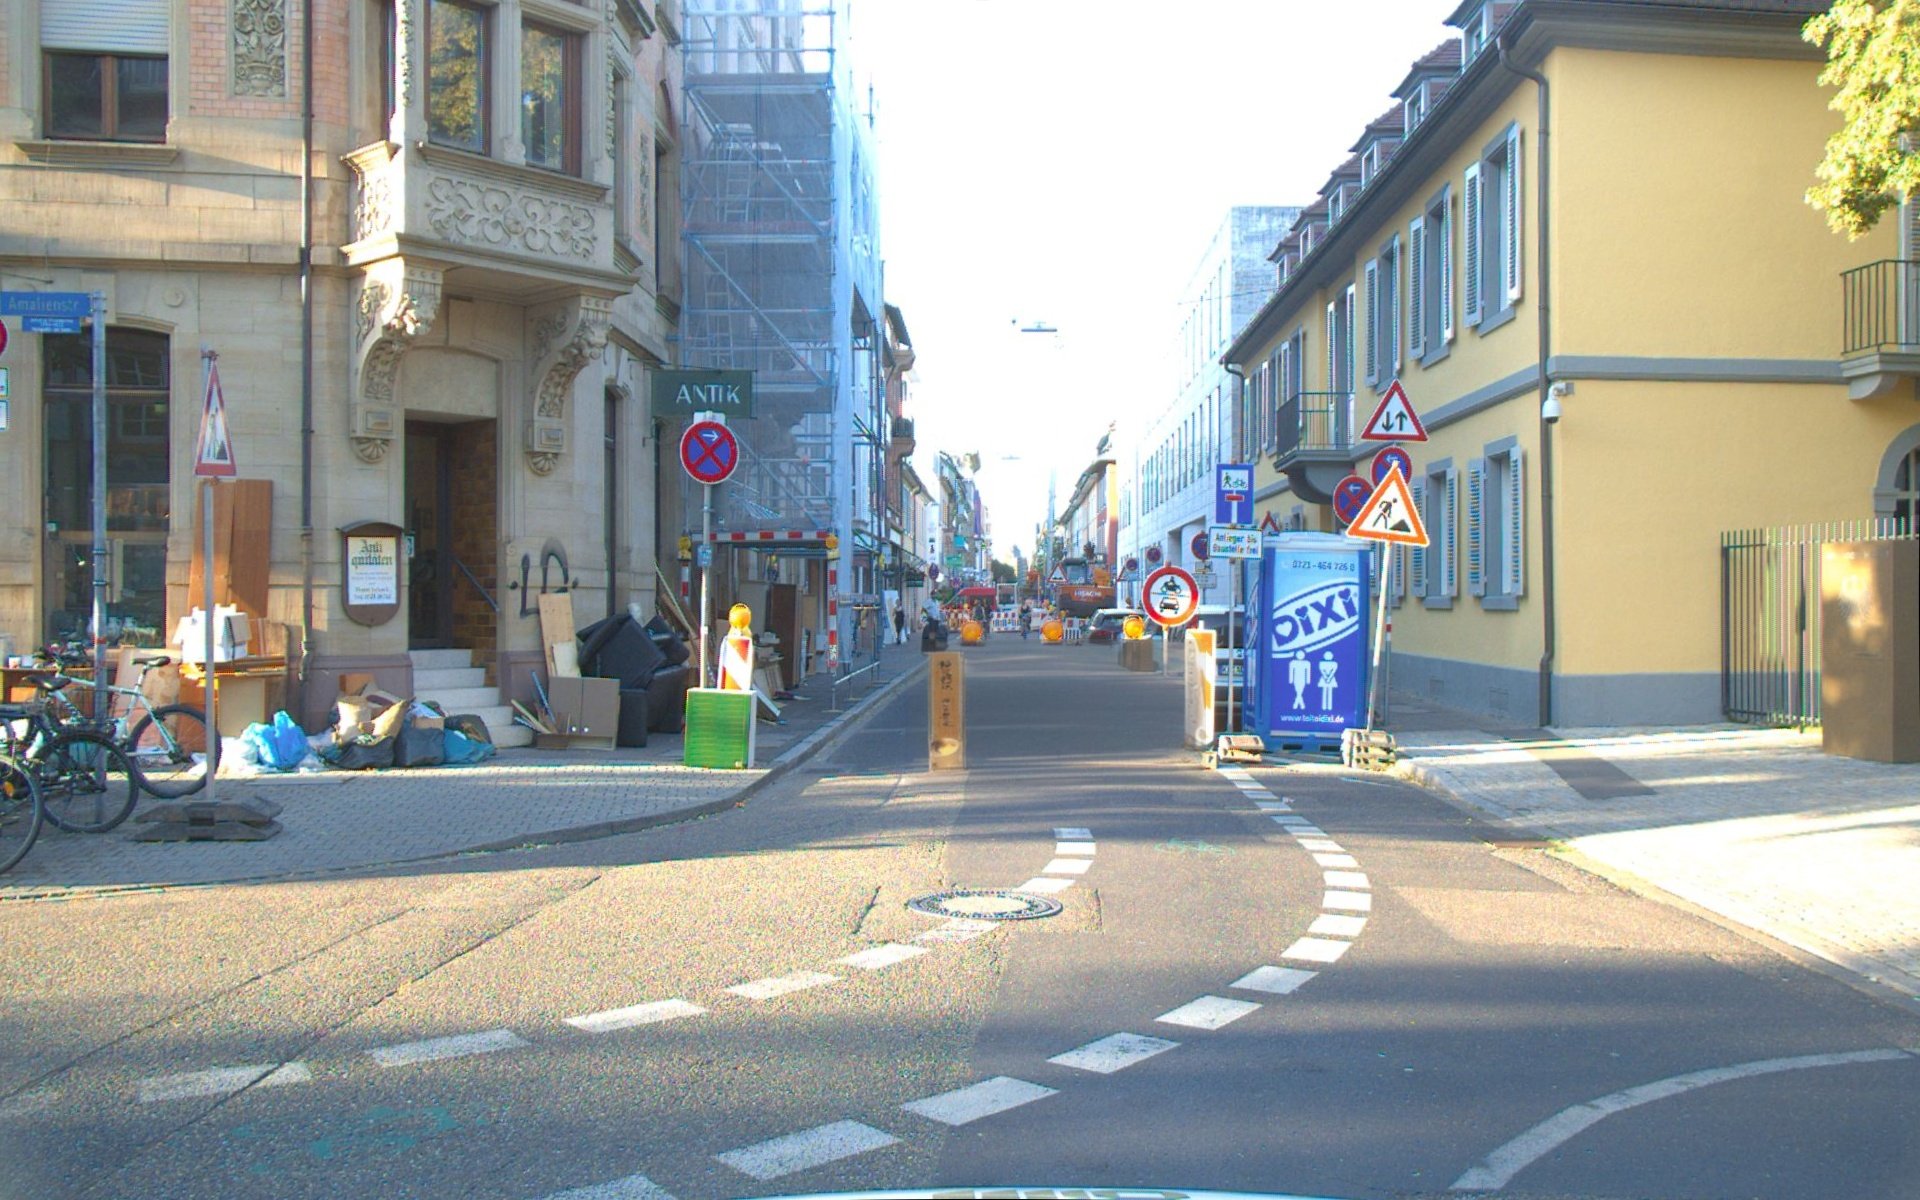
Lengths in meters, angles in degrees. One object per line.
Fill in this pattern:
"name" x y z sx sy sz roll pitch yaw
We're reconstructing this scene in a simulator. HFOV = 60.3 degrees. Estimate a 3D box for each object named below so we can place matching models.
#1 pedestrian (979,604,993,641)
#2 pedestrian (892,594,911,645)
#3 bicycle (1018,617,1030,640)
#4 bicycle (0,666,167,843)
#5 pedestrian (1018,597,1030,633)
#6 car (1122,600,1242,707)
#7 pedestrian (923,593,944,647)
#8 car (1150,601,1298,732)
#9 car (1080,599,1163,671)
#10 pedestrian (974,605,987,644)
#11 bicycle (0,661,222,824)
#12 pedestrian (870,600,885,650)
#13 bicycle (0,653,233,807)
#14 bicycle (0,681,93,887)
"pedestrian" 1.062 0.910 67.367 0.494 1.487 0.513 0 0 8
"pedestrian" -2.049 0.676 58.153 0.662 1.763 0.699 0 -1 -1
"bicycle" 2.625 1.155 67.986 0.494 0.899 1.477 0 0 2
"bicycle" -5.974 0.947 10.250 1.792 1.031 0.638 0 0 -10
"pedestrian" 2.621 0.623 67.908 0.494 1.487 0.512 0 0 1
"car" 3.432 0.787 26.141 1.508 1.546 3.980 0 0 2
"pedestrian" -0.890 0.652 55.276 0.501 1.795 0.505 0 0 -39
"car" 3.364 0.799 21.538 1.508 1.546 3.222 1 0 2
"car" 3.652 0.766 37.832 1.682 1.546 3.222 0 0 2
"pedestrian" 0.807 0.960 64.444 0.494 1.487 0.512 0 0 2
"bicycle" -6.159 0.945 11.140 2.065 1.031 0.638 0 0 -10
"pedestrian" -2.665 0.800 53.453 0.335 1.594 0.420 0 -1 24
"bicycle" -6.425 0.929 11.975 2.065 1.058 0.464 0 0 -10
"bicycle" -5.782 0.991 8.998 1.791 1.065 0.571 0 0 -6
